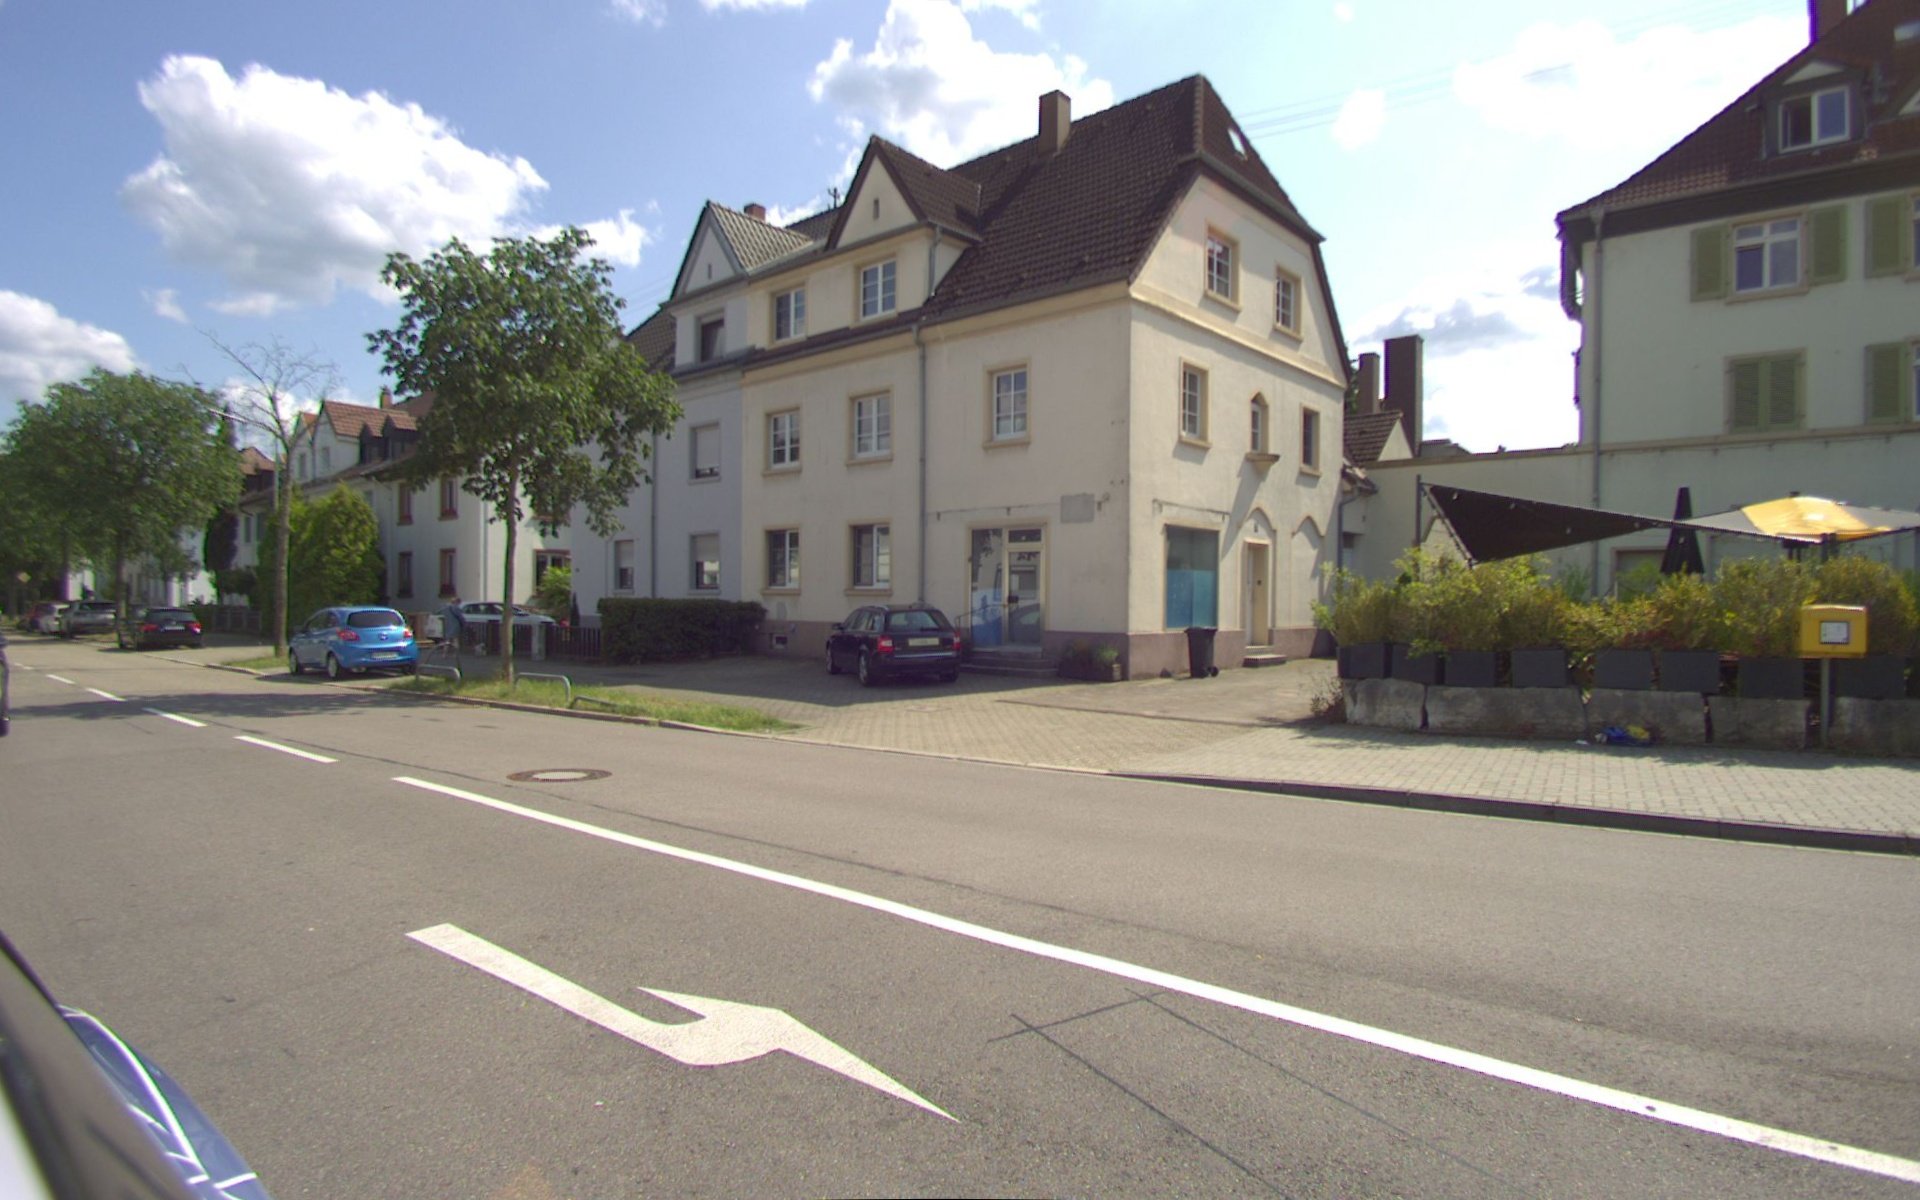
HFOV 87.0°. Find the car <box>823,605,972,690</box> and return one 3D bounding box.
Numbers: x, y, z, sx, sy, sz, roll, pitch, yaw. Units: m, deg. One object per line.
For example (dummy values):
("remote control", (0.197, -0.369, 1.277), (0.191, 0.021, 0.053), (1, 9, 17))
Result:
("car", (-1.288, 0.805, 18.902), (1.732, 1.397, 4.115), (0, -1, -19))

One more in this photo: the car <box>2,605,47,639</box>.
("car", (-48.322, 1.117, 52.241), (3.252, 1.667, 1.541), (-1, -1, 45))

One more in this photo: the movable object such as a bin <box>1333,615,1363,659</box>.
("movable object such as a bin", (9.562, 0.900, 24.952), (0.510, 1.053, 0.608), (-1, -1, 41))

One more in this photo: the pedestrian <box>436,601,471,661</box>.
("pedestrian", (-13.236, 0.809, 26.447), (0.618, 1.547, 0.624), (-1, -1, 41))

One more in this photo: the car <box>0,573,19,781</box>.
("car", (-10.511, 0.664, 9.681), (4.872, 1.777, 1.753), (-1, -1, 42))

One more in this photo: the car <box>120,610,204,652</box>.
("car", (-26.290, 0.987, 33.294), (3.919, 1.306, 1.686), (-1, -1, 45))

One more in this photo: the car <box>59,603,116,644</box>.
("car", (-36.728, 0.962, 42.580), (3.575, 1.667, 1.541), (-1, -1, 45))

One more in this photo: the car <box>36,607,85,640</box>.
("car", (-41.335, 1.059, 46.510), (1.601, 1.436, 3.004), (0, 0, -43))

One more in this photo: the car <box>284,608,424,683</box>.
("car", (-12.941, 0.907, 21.567), (3.153, 1.473, 1.687), (-1, -1, 41))

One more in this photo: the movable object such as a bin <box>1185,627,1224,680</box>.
("movable object such as a bin", (4.692, 1.019, 19.405), (0.510, 0.979, 0.608), (-1, -1, 41))

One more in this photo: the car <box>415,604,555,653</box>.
("car", (-15.284, 0.885, 32.685), (1.711, 1.465, 3.753), (-1, -1, 44))
